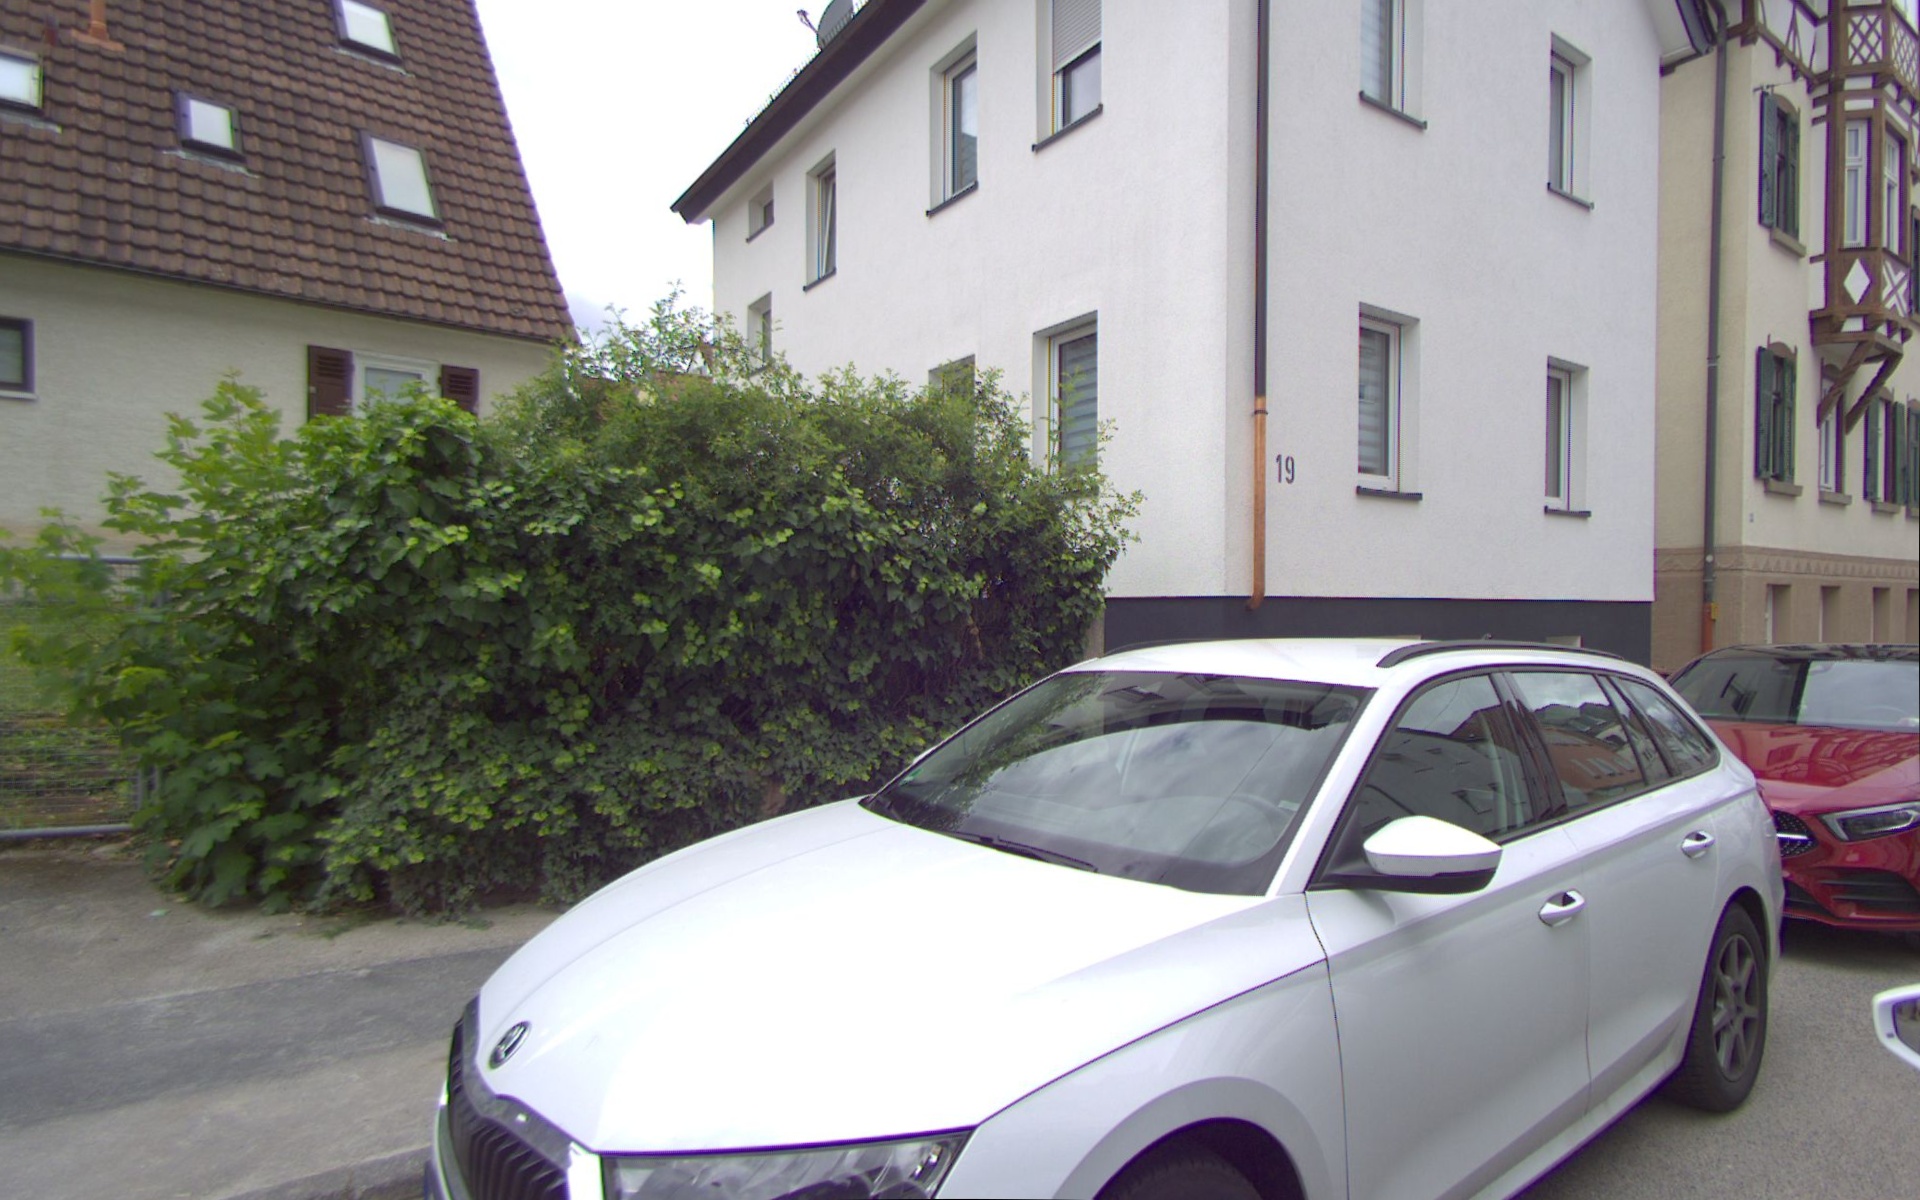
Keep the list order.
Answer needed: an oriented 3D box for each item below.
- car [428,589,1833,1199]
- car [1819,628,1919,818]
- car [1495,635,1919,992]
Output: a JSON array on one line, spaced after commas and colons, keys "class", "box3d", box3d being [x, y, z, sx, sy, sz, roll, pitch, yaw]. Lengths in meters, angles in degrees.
[{"class": "car", "box3d": [0.905, 0.794, 3.059, 4.255, 1.480, 1.780, 2, -2, -37]}, {"class": "car", "box3d": [9.409, 1.015, 8.896, 3.941, 1.515, 1.758, 1, -2, -34]}, {"class": "car", "box3d": [5.125, 0.937, 5.986, 4.129, 1.436, 1.757, 2, -2, -35]}]
